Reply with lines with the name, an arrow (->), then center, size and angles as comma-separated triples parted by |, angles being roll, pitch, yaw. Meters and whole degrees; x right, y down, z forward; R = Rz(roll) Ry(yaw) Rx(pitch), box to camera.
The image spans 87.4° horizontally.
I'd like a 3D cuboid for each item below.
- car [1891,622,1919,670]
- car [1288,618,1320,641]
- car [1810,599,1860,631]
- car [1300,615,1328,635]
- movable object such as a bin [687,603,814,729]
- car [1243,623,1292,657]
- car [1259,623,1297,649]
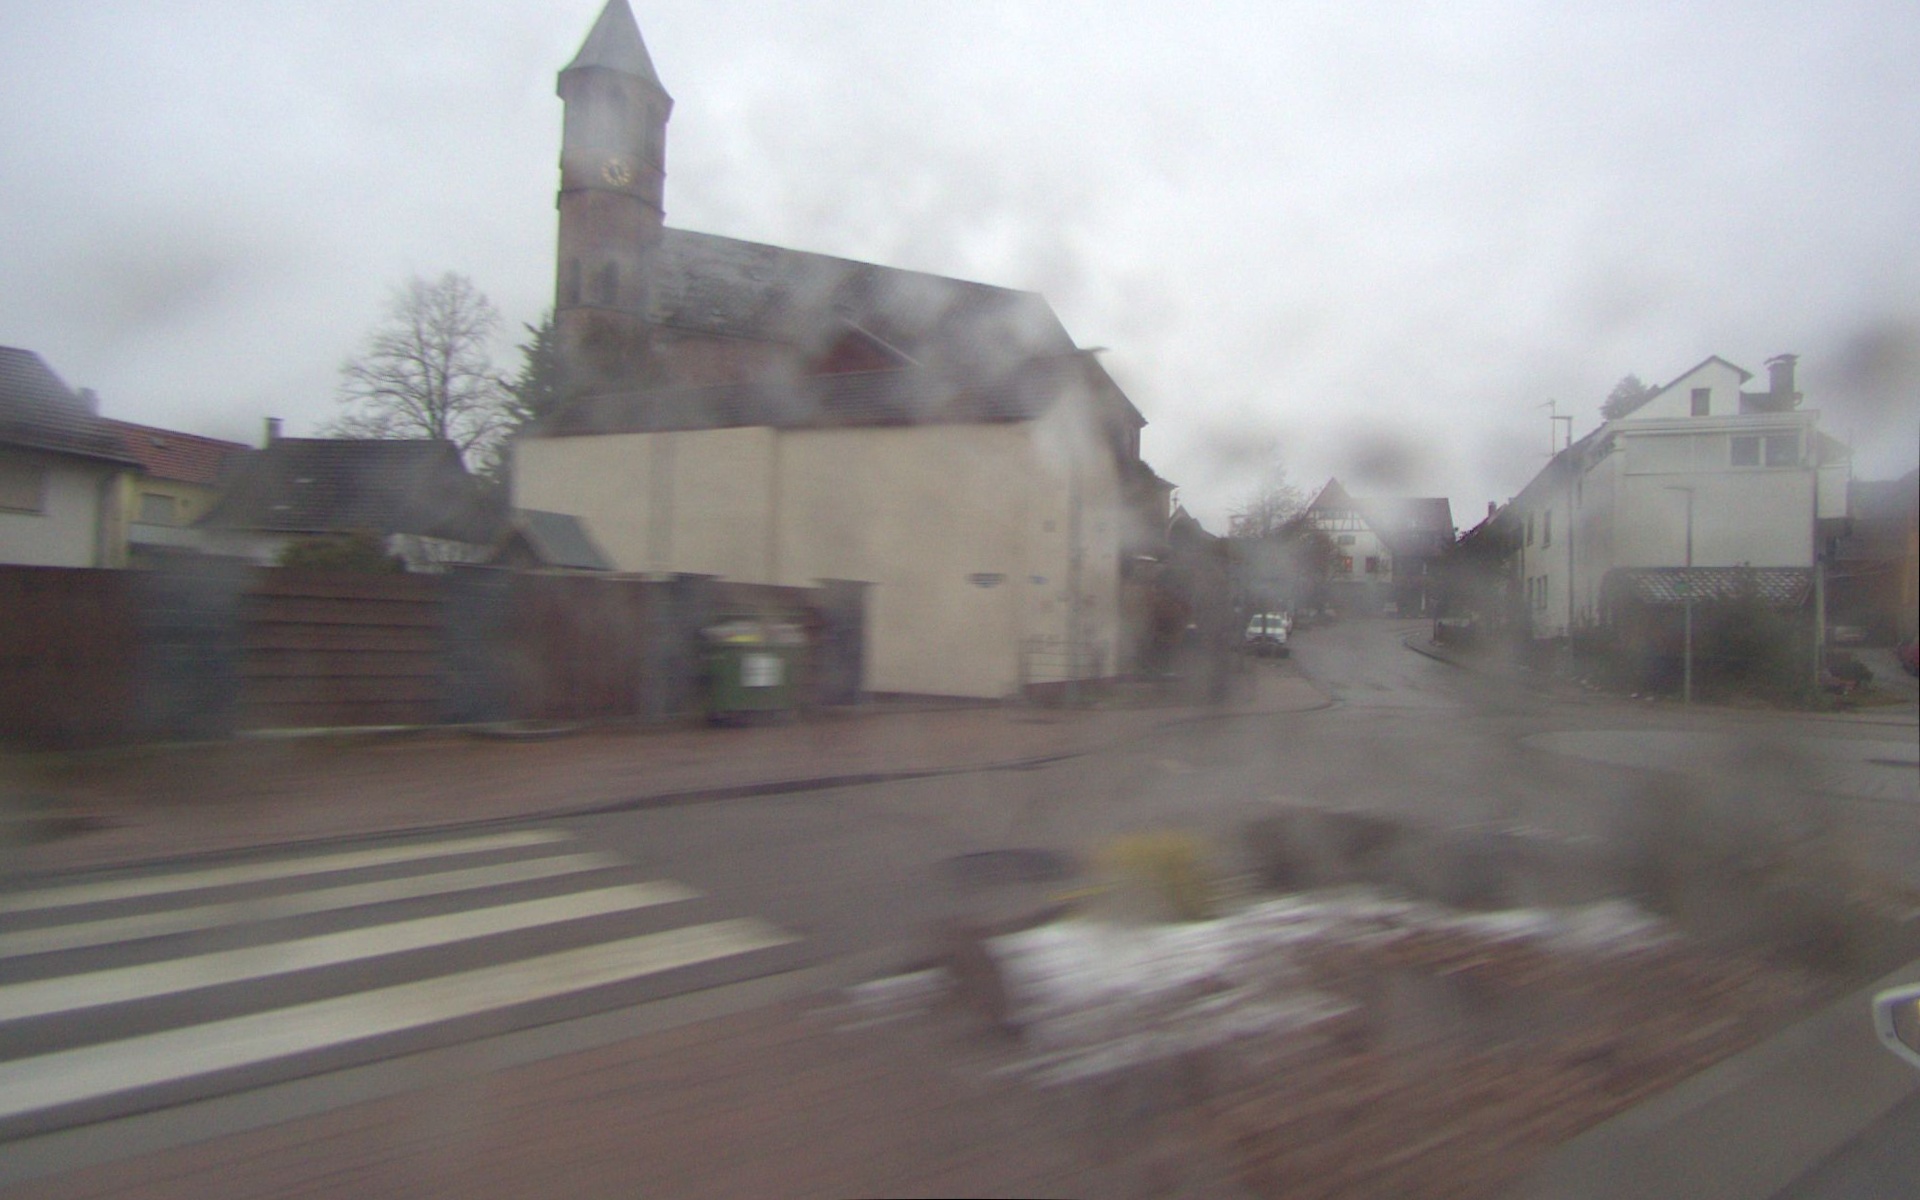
car -> 35.085, 1.640, 36.339 | 1.971, 1.666, 3.979 | 0, -1, 42
car -> 23.870, 2.071, 69.593 | 1.896, 1.537, 3.999 | 0, -2, 22
car -> 47.308, 0.808, 54.283 | 1.971, 1.666, 3.979 | 0, -1, 42
car -> 27.339, 1.923, 77.456 | 1.896, 1.537, 3.999 | 0, -2, 22
movable object such as a bin -> -2.761, 0.841, 13.237 | 1.278, 1.563, 1.087 | 1, -2, -40
car -> 14.617, 1.889, 47.684 | 1.896, 1.537, 3.999 | 0, -2, 22
car -> 19.297, 2.184, 60.817 | 1.896, 1.537, 3.999 | 0, -2, 22
